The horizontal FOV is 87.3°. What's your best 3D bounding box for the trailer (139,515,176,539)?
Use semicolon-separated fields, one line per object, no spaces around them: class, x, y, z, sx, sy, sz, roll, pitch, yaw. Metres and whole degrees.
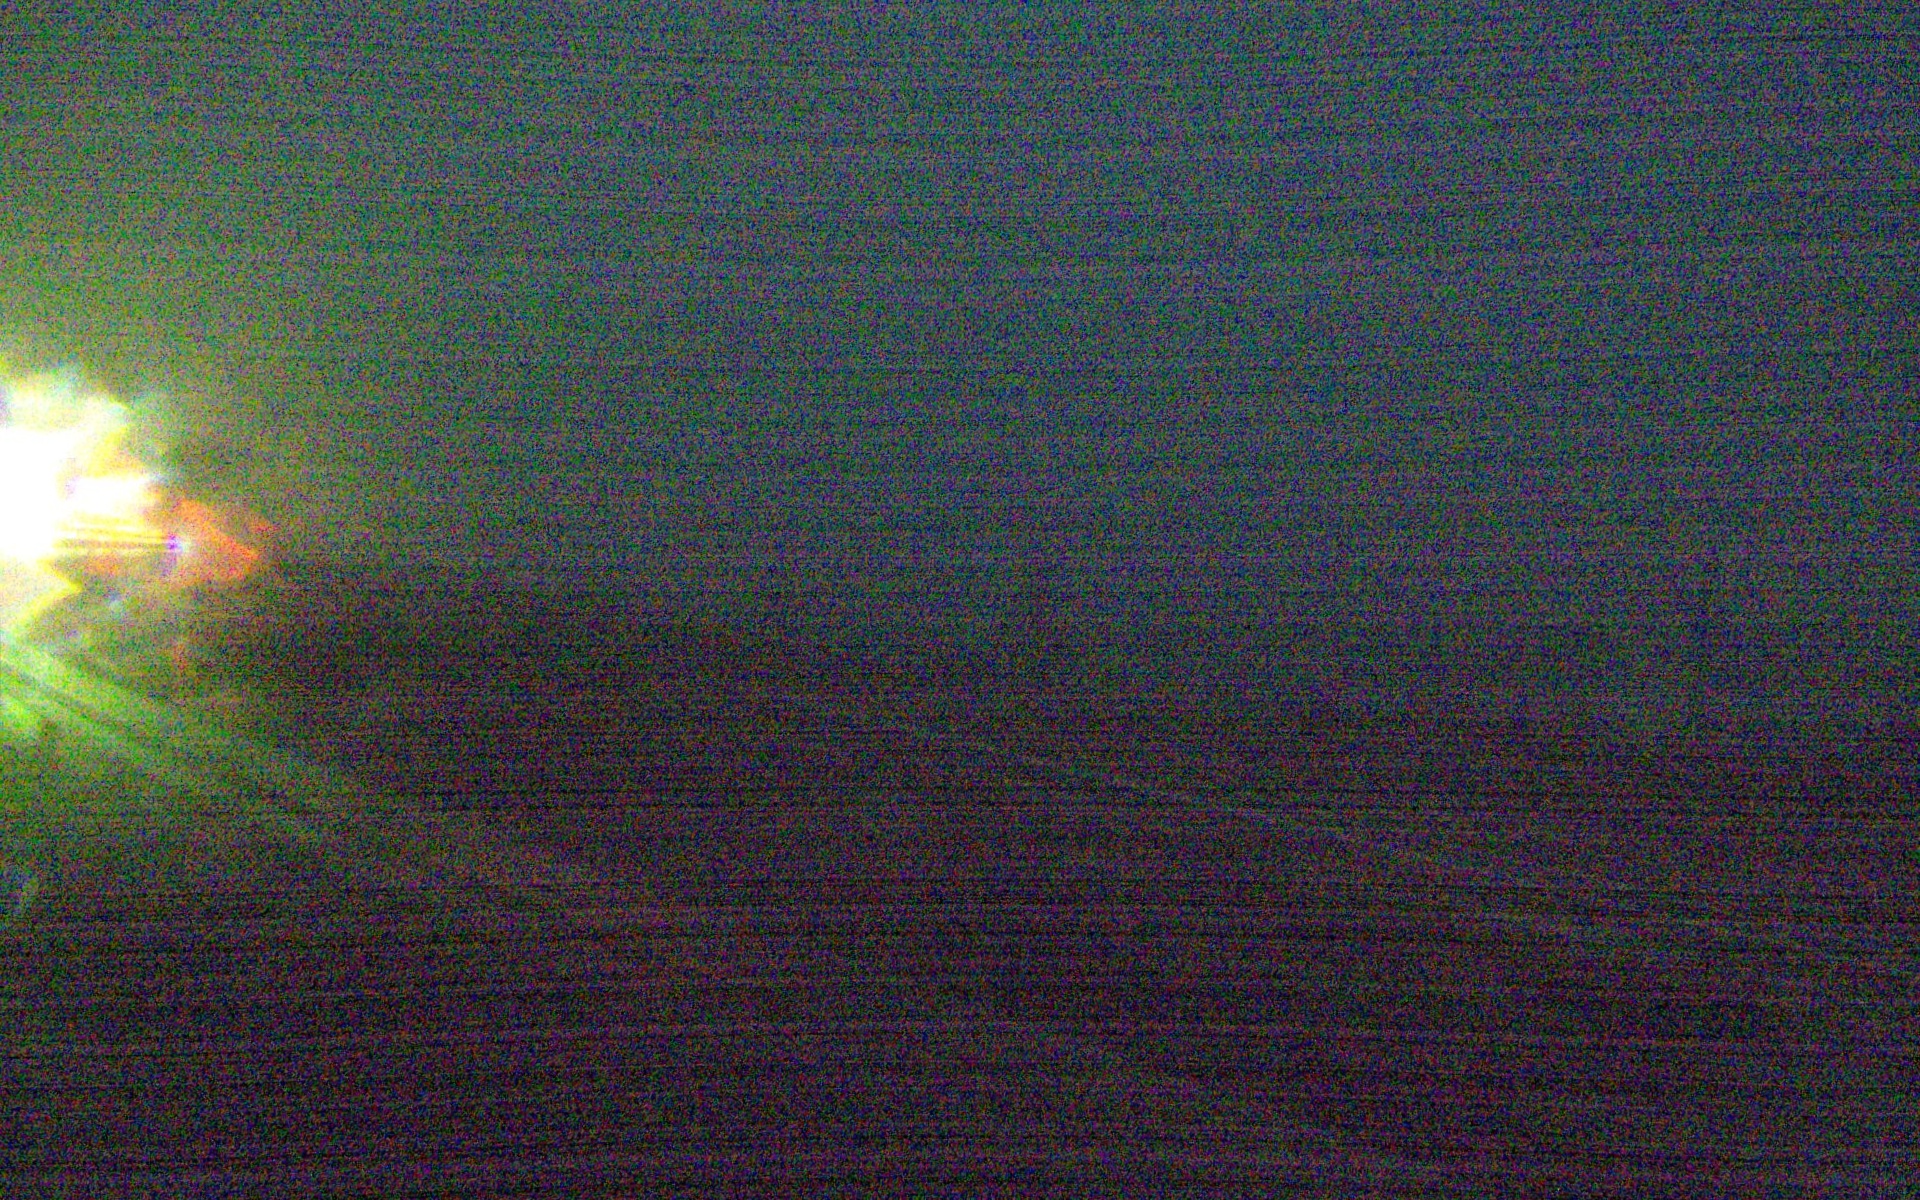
trailer;-121.991;-11.007;153.021;2.672;2.728;12.752;11;-4;-32

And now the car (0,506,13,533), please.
car;-77.924;-6.647;80.549;1.982;2.035;3.969;11;-4;-31

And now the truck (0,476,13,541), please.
truck;-57.225;-5.578;57.916;2.575;3.750;5.410;11;-4;-34

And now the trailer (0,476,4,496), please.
trailer;-53.644;-5.364;52.556;2.579;3.763;13.534;11;-4;-34

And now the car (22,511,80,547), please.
car;-59.182;-4.587;65.573;1.983;1.837;3.967;11;-4;-33
